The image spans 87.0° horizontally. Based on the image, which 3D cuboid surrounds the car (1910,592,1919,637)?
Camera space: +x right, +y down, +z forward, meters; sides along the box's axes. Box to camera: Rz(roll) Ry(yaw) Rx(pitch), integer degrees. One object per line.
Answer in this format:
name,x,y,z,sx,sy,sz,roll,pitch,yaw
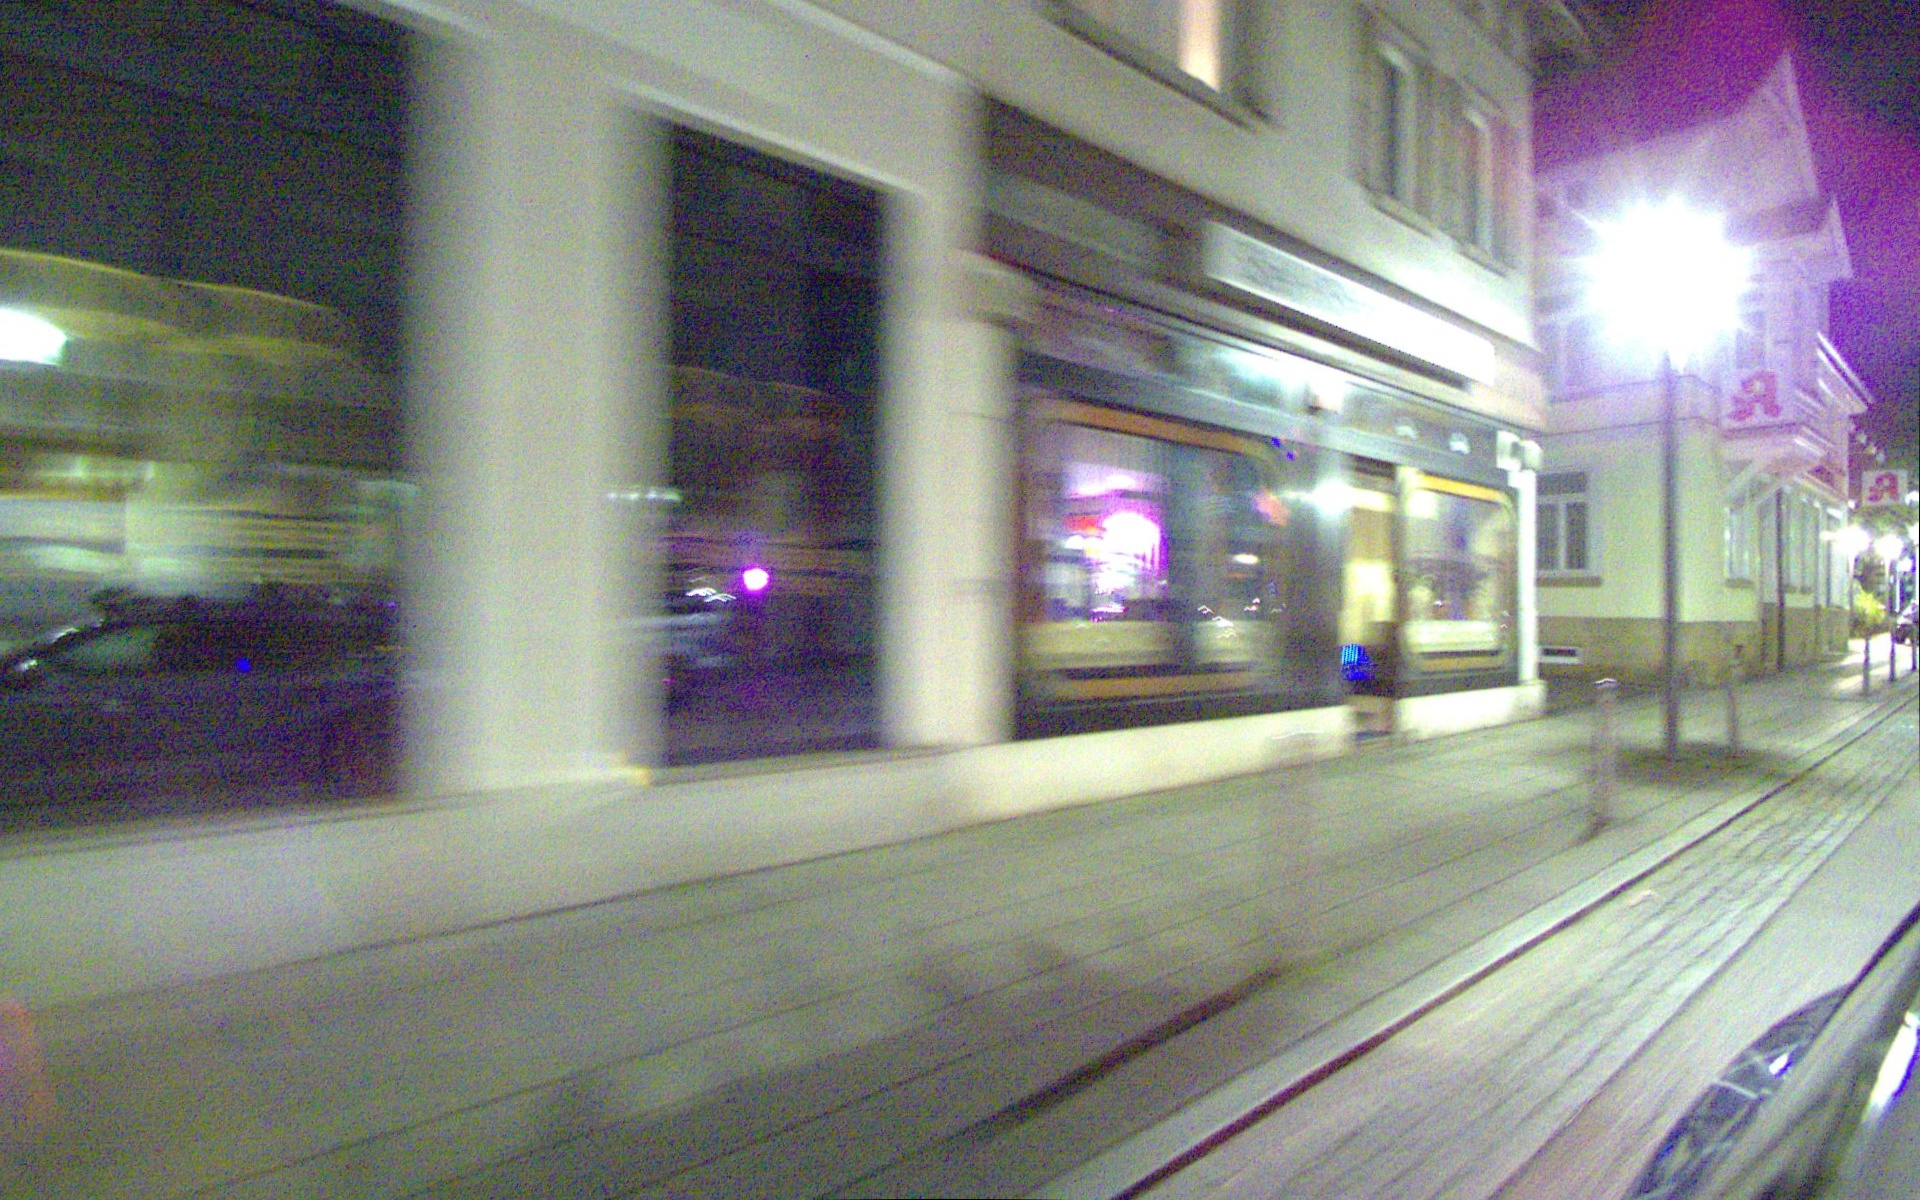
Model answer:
car,31.587,0.456,32.010,4.029,1.394,1.665,-1,3,-38
